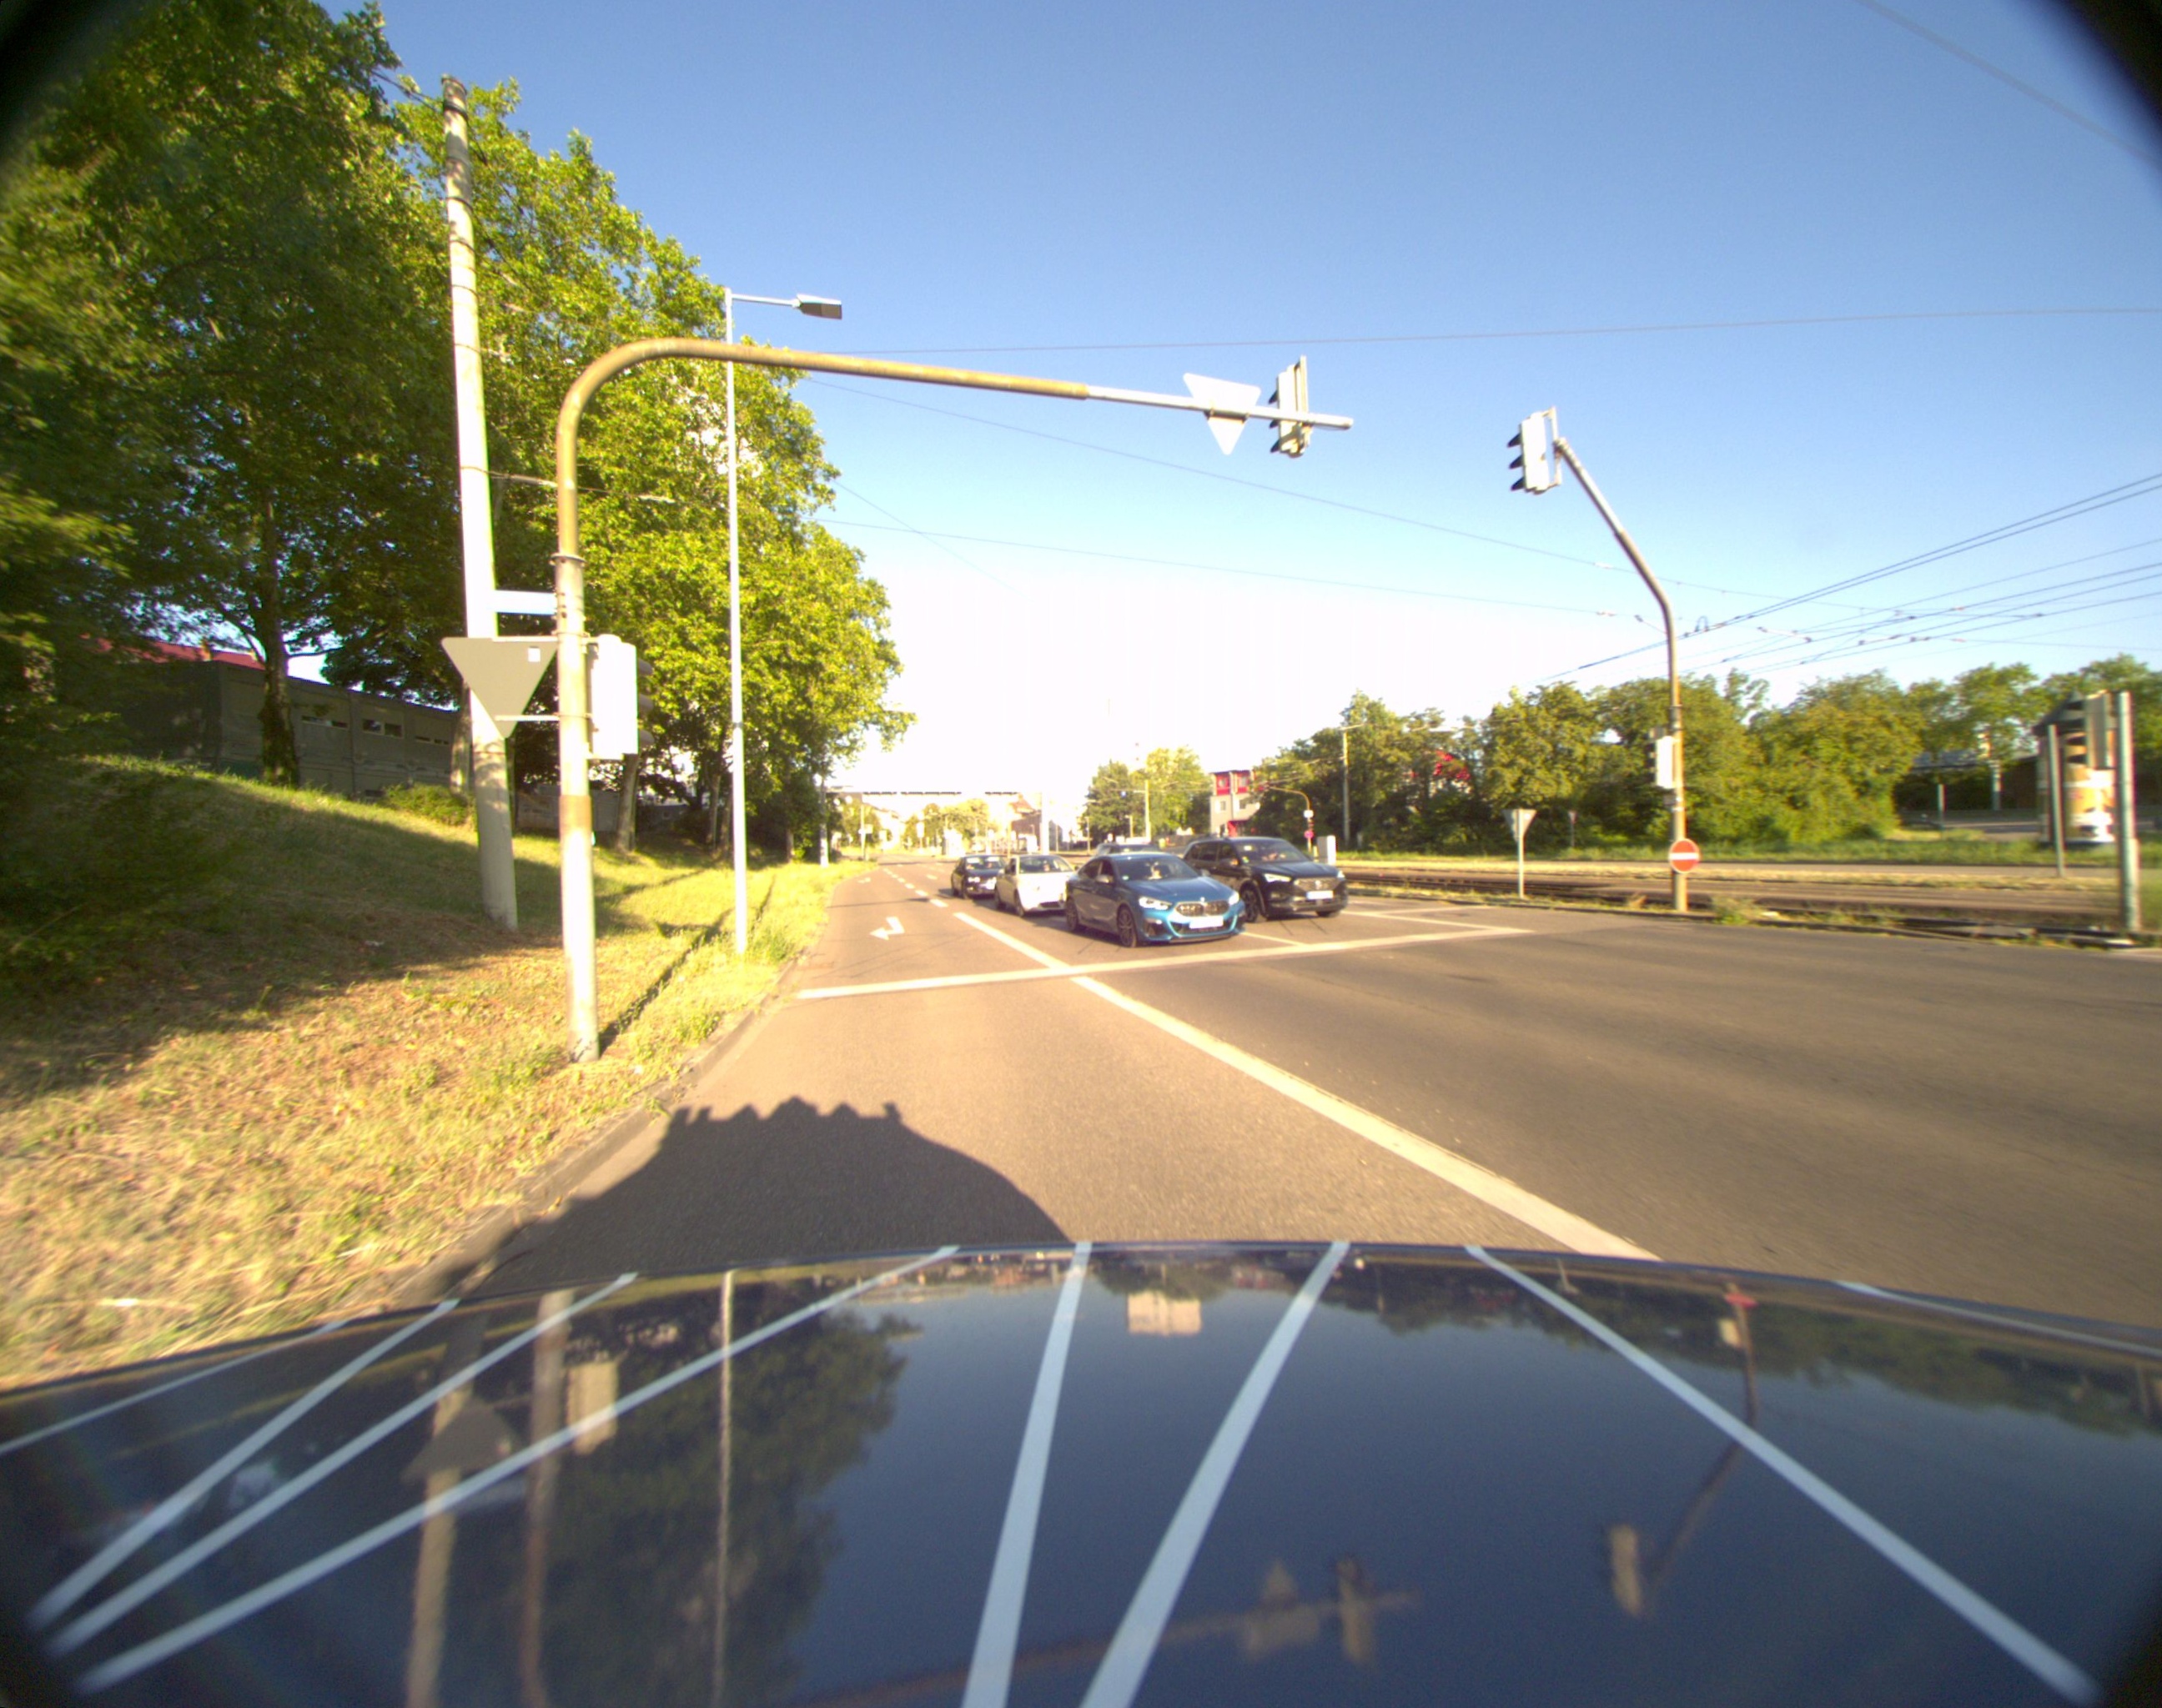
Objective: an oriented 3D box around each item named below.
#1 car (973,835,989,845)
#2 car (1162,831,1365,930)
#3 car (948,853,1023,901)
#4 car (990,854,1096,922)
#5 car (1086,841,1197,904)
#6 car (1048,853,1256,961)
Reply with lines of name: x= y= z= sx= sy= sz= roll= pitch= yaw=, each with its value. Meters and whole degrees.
car: x=-21.959 y=-3.153 z=166.926 sx=1.996 sy=2.002 sz=4.003 roll=-2 pitch=2 yaw=16
car: x=3.516 y=0.437 z=15.671 sx=1.923 sy=1.672 sz=4.594 roll=-2 pitch=1 yaw=-18
car: x=-3.309 y=0.715 z=25.709 sx=1.784 sy=1.422 sz=3.918 roll=-2 pitch=1 yaw=-18
car: x=-1.060 y=0.762 z=19.066 sx=1.667 sy=1.422 sz=3.918 roll=-2 pitch=1 yaw=-18
car: x=1.689 y=0.478 z=23.133 sx=1.922 sy=1.639 sz=4.595 roll=-2 pitch=1 yaw=-14
car: x=0.958 y=0.730 z=12.957 sx=1.791 sy=1.409 sz=4.505 roll=-2 pitch=1 yaw=-19
